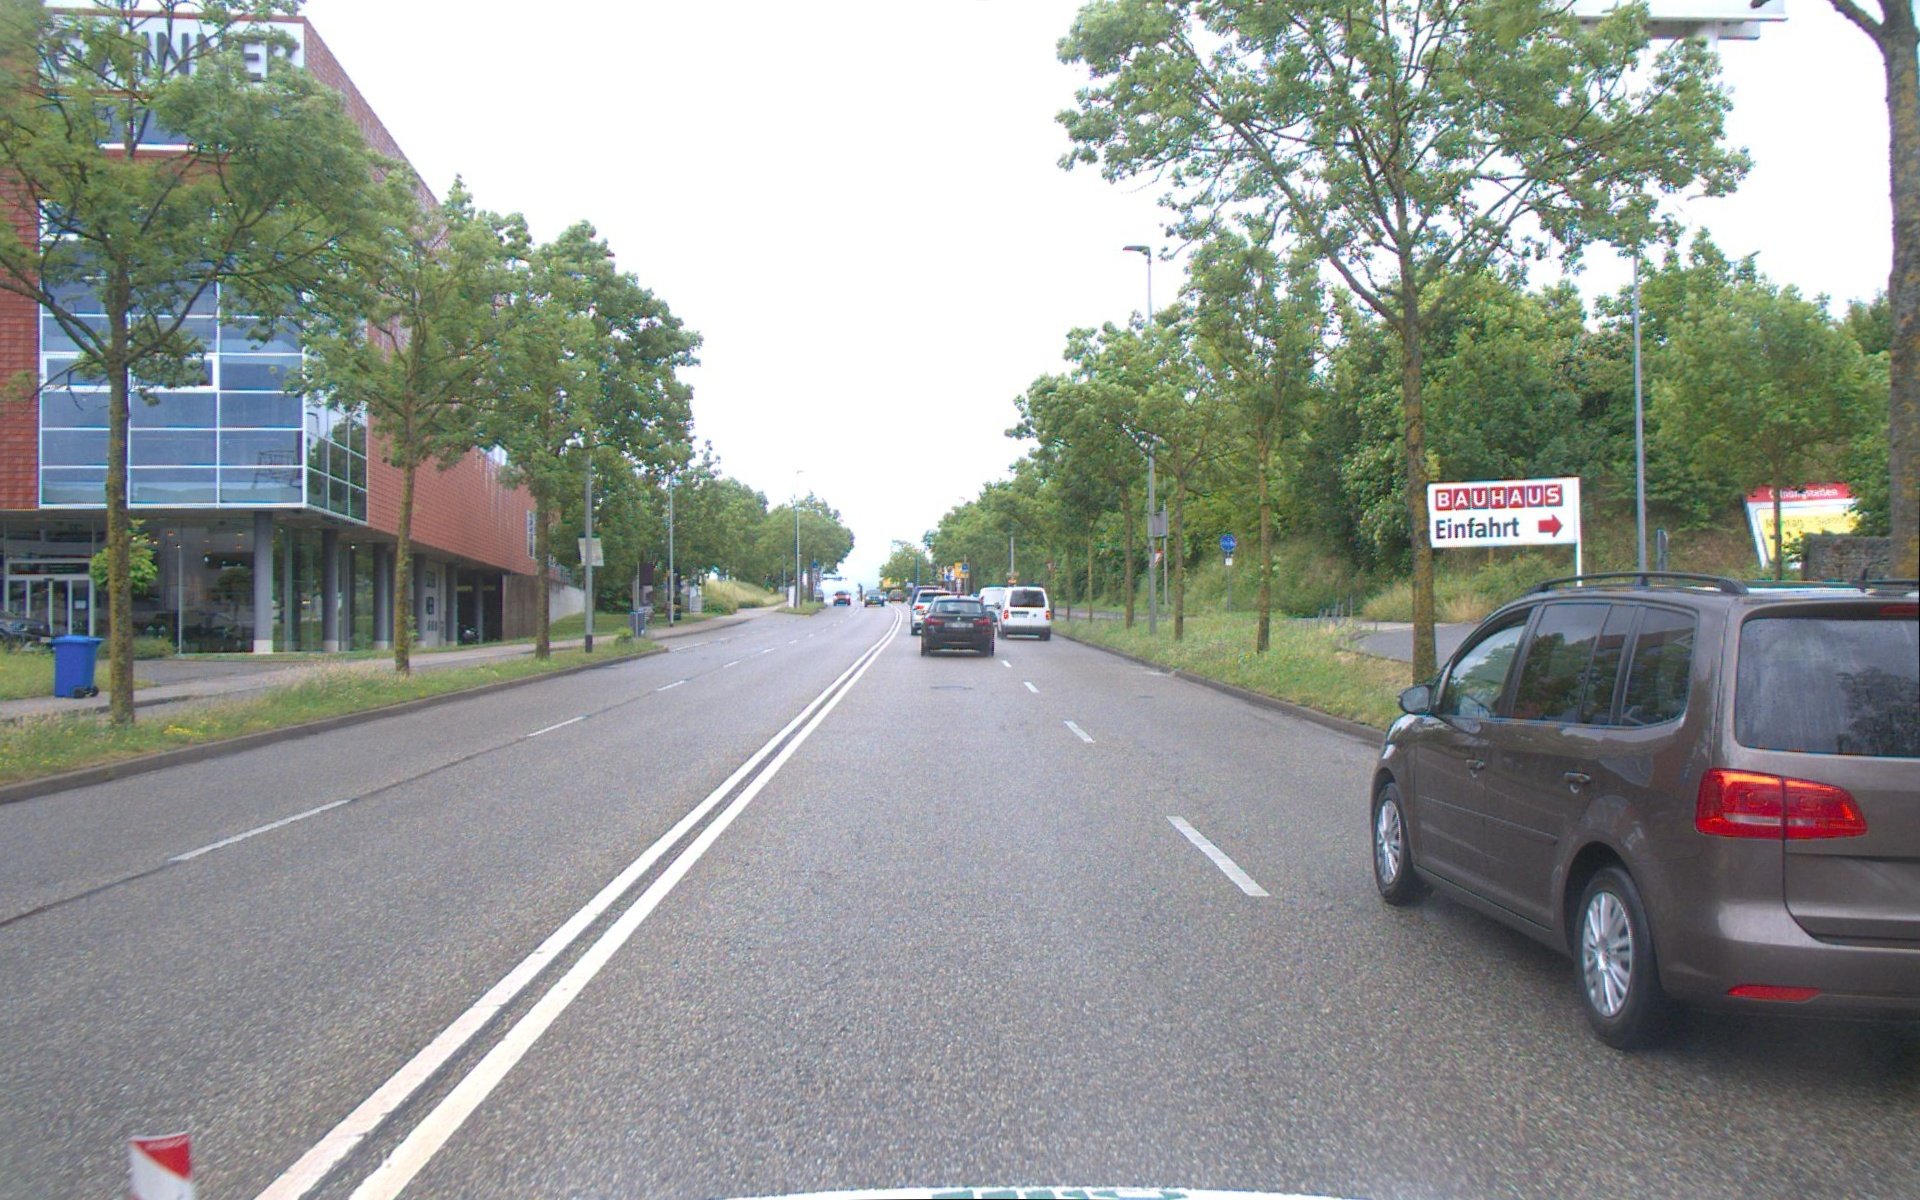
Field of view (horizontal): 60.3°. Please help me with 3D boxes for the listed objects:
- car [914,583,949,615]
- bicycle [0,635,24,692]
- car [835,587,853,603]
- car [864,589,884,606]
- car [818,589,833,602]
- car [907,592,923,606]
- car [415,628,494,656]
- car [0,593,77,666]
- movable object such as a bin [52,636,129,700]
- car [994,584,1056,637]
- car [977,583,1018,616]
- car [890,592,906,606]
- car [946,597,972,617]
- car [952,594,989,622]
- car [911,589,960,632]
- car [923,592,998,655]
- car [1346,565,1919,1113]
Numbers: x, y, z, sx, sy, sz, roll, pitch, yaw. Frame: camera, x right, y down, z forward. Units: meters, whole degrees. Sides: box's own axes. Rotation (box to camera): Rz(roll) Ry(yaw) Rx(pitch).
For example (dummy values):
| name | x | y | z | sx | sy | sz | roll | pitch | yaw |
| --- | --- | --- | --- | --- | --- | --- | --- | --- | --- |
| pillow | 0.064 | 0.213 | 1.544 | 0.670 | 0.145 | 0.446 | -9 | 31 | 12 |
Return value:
| name | x | y | z | sx | sy | sz | roll | pitch | yaw |
| --- | --- | --- | --- | --- | --- | --- | --- | --- | --- |
| car | -1.473 | -0.034 | 84.829 | 1.758 | 1.537 | 3.999 | 1 | -1 | -1 |
| bicycle | -17.637 | 1.056 | 28.776 | 2.034 | 0.952 | 1.094 | 4 | -1 | 2 |
| car | -12.185 | -0.505 | 173.829 | 1.759 | 1.537 | 3.996 | 1 | -1 | -4 |
| car | -8.284 | -0.243 | 158.656 | 1.759 | 1.537 | 3.996 | 1 | -1 | -4 |
| car | -16.303 | -0.550 | 200.258 | 1.759 | 1.537 | 3.996 | 1 | -1 | -4 |
| car | -5.422 | -0.084 | 198.070 | 1.758 | 1.537 | 3.997 | 1 | -1 | -3 |
| car | -25.469 | 2.107 | 83.406 | 3.463 | 1.307 | 1.521 | 1 | -1 | 1 |
| car | -23.731 | 0.704 | 39.673 | 4.205 | 1.712 | 1.790 | 0 | -1 | -19 |
| movable object such as a bin | -15.681 | 1.210 | 29.854 | 0.802 | 1.098 | 1.085 | 1 | 0 | -1 |
| car | 2.238 | 0.343 | 58.116 | 1.790 | 1.790 | 3.998 | 1 | 0 | -3 |
| car | 1.808 | 0.014 | 80.564 | 1.758 | 1.537 | 3.998 | 1 | -1 | -2 |
| car | -7.088 | -0.080 | 187.870 | 1.758 | 1.537 | 3.997 | 1 | -1 | -3 |
| car | -0.110 | 0.535 | 130.427 | 1.759 | 1.537 | 3.996 | 1 | -1 | -4 |
| car | 0.578 | 0.462 | 93.882 | 1.759 | 1.537 | 3.996 | 1 | -1 | -4 |
| car | -0.968 | 0.411 | 63.114 | 1.758 | 1.537 | 3.998 | 1 | -1 | -2 |
| car | 0.000 | 0.564 | 41.844 | 1.790 | 1.494 | 4.000 | 1 | 0 | -1 |
| car | 3.048 | 0.716 | 7.016 | 1.651 | 1.609 | 4.216 | 1 | 0 | -3 |
